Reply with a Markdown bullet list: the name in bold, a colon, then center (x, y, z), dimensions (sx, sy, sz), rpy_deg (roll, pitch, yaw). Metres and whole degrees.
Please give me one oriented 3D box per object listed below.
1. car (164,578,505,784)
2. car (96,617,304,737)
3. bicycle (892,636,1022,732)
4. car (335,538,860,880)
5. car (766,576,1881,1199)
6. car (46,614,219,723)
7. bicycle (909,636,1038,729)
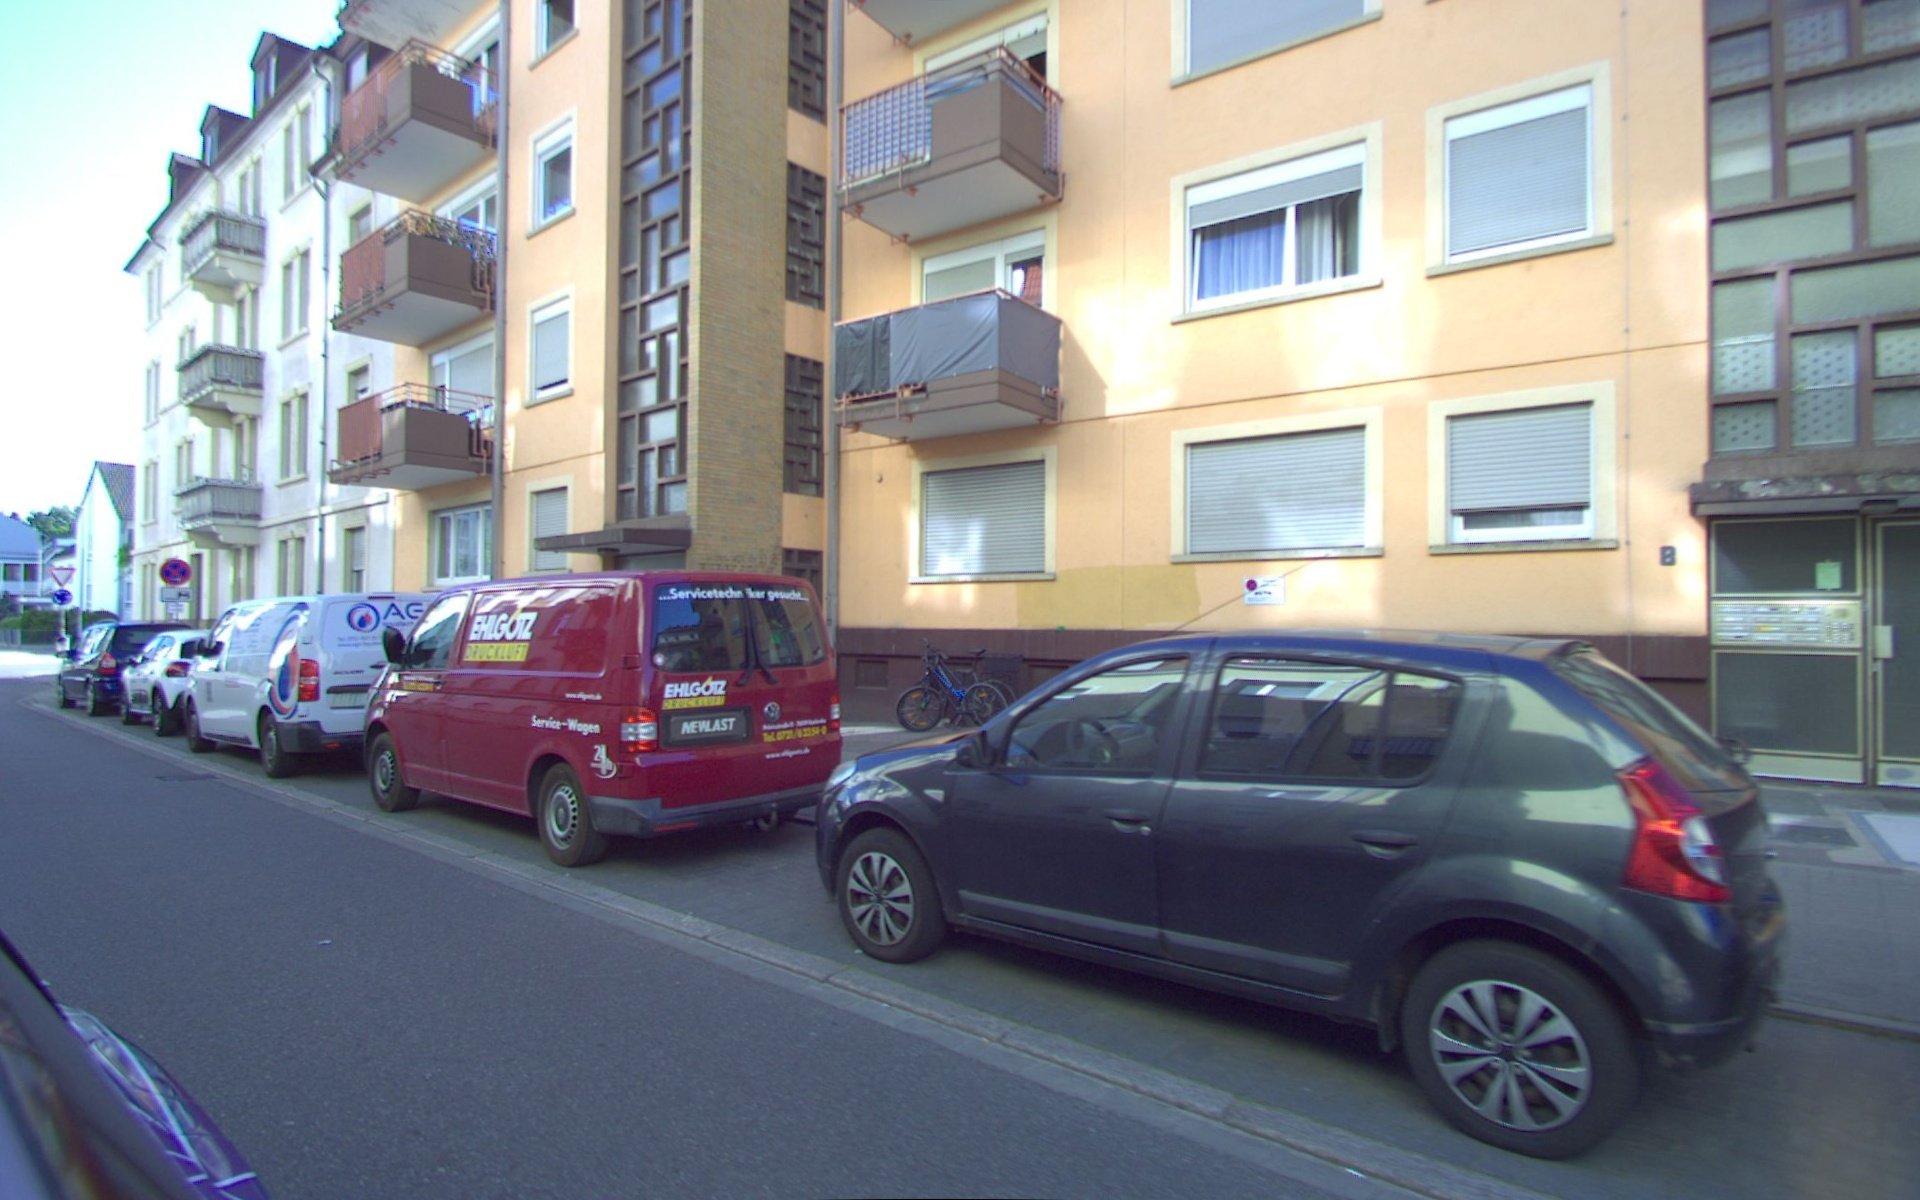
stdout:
- **car**: center (-7.601, 0.828, 12.028), dimensions (5.306, 1.940, 1.955), rpy_deg (-2, -2, 41)
- **car**: center (-12.047, 1.111, 15.943), dimensions (4.292, 1.633, 1.744), rpy_deg (-2, -2, 41)
- **bicycle**: center (-0.064, 1.012, 12.571), dimensions (1.759, 1.122, 0.338), rpy_deg (-1, -2, 36)
- **car**: center (-3.126, 0.680, 8.043), dimensions (4.932, 1.940, 1.744), rpy_deg (-2, -2, 41)
- **car**: center (1.146, 0.775, 4.323), dimensions (3.996, 1.514, 1.745), rpy_deg (-2, -3, 40)
- **car**: center (-15.301, 1.173, 18.638), dimensions (4.291, 1.784, 1.744), rpy_deg (-2, -2, 41)
- **bicycle**: center (0.147, 1.016, 12.892), dimensions (1.759, 1.122, 0.338), rpy_deg (-1, -2, 36)
